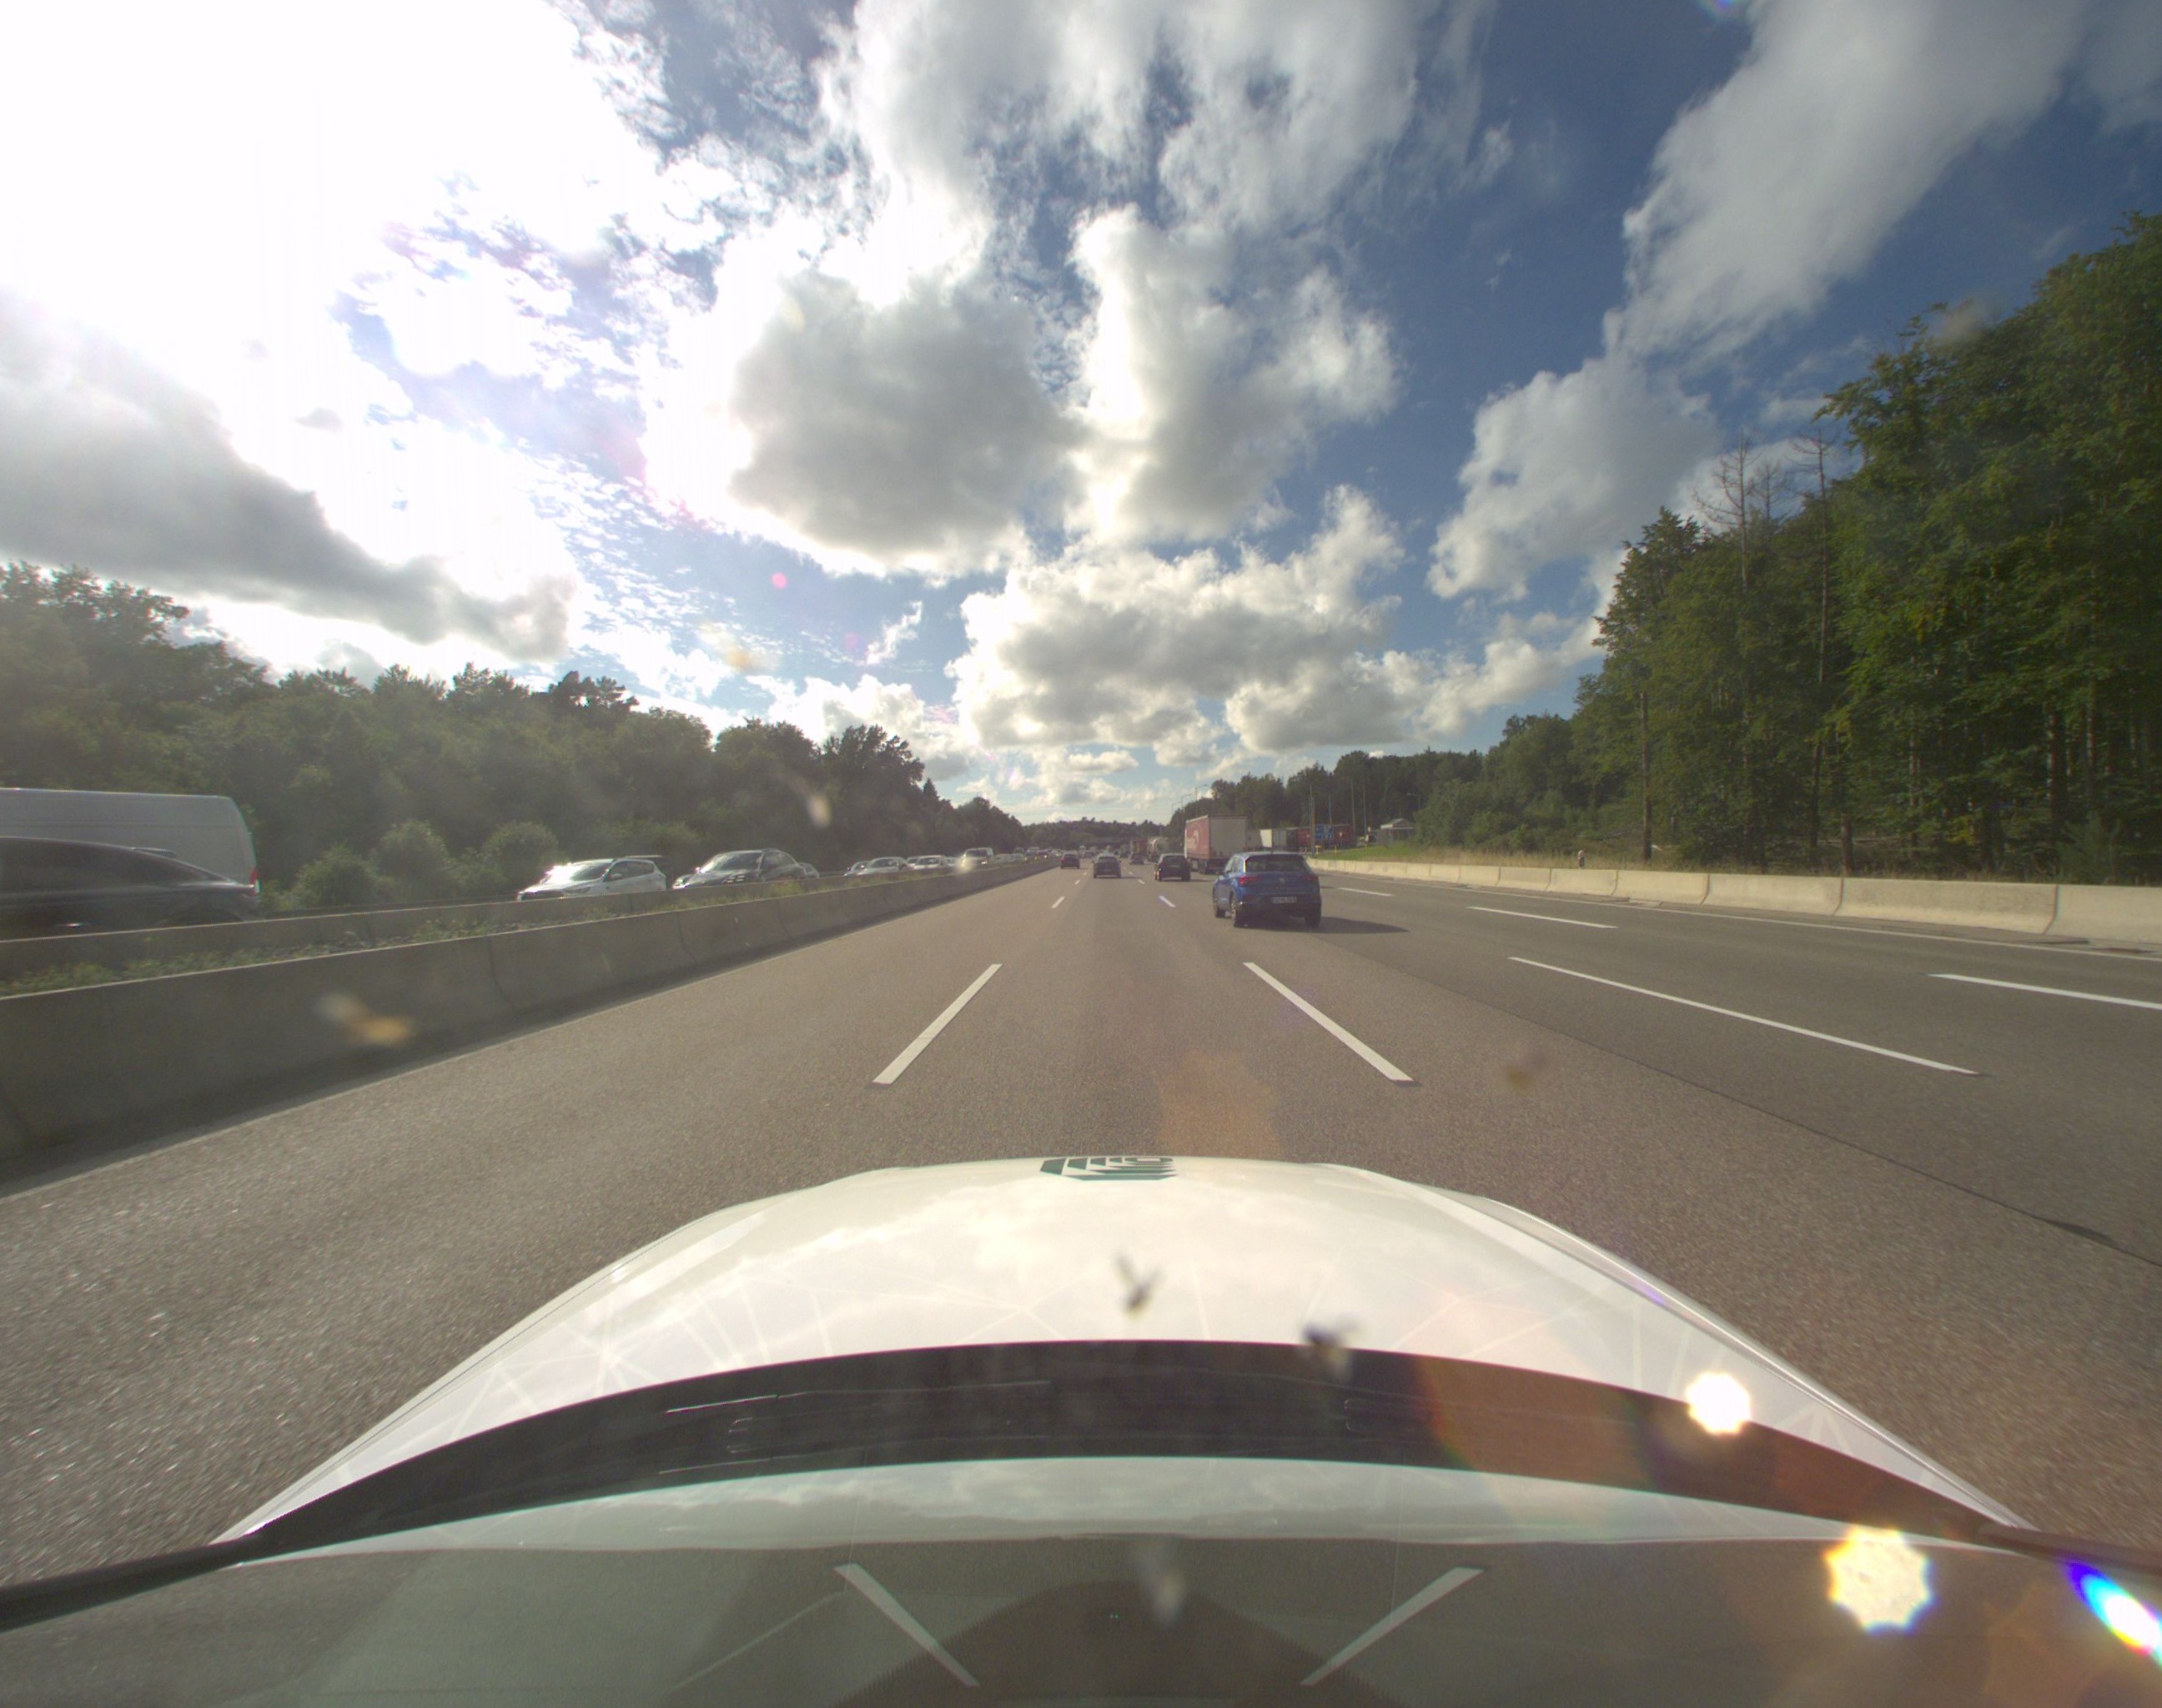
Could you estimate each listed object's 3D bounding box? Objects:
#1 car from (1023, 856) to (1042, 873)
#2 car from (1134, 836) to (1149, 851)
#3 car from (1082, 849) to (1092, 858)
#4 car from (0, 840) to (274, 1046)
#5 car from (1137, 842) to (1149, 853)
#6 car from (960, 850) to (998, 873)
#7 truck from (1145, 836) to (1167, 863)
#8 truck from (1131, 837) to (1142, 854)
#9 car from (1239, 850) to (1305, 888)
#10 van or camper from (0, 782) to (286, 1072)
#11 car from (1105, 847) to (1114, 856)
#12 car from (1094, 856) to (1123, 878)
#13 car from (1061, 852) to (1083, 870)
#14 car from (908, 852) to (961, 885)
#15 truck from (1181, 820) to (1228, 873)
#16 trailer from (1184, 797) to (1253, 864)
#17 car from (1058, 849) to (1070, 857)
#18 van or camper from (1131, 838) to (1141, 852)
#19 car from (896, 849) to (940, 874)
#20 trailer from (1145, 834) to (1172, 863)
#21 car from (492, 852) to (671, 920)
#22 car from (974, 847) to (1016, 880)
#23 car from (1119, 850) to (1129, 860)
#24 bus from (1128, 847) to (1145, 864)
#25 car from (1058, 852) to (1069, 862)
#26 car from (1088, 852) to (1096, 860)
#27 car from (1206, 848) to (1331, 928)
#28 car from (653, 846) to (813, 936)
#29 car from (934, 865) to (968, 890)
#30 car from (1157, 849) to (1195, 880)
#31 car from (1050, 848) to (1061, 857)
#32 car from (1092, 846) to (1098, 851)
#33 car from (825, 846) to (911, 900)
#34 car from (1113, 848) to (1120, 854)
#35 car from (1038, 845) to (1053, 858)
[{"bbox_3d":[-5.869,1.325,99.570,1.809,2.014,4.454,0,-2,3],"label":"car"},{"bbox_3d":[12.441,-2.133,167.091,2.855,2.992,5.152,0,-2,3],"label":"car"},{"bbox_3d":[1.355,-0.122,176.122,2.146,1.776,4.002,0,-1,2],"label":"car"},{"bbox_3d":[-9.268,0.683,6.247,1.830,1.591,4.289,0,0,1],"label":"car"},{"bbox_3d":[11.909,-1.251,156.552,1.986,2.014,4.001,0,-2,1],"label":"car"},{"bbox_3d":[-7.469,0.510,60.140,1.985,1.572,4.819,-1,0,3],"label":"car"},{"bbox_3d":[11.672,-0.636,127.494,3.034,4.160,7.129,-1,-1,2],"label":"truck"},{"bbox_3d":[12.603,-1.823,184.682,2.348,3.572,11.273,0,-2,3],"label":"truck"},{"bbox_3d":[8.384,0.656,36.100,1.711,1.511,4.298,-2,-1,-2],"label":"car"},{"bbox_3d":[-12.908,0.799,8.958,2.131,3.172,6.245,0,0,1],"label":"van or camper"},{"bbox_3d":[6.558,-0.541,190.156,1.986,2.014,4.001,-2,-2,1],"label":"car"},{"bbox_3d":[1.711,0.808,52.213,1.728,1.365,3.999,0,-1,0],"label":"car"},{"bbox_3d":[-0.884,0.652,81.566,1.986,1.776,4.002,0,0,2],"label":"car"},{"bbox_3d":[-8.280,0.791,46.558,1.986,1.735,5.092,0,0,1],"label":"car"},{"bbox_3d":[9.908,-0.529,65.897,3.069,4.064,6.071,0,-2,1],"label":"truck"},{"bbox_3d":[9.716,-1.431,59.183,3.027,4.035,13.893,0,-1,2],"label":"trailer"},{"bbox_3d":[-3.360,-0.189,163.353,1.985,1.572,5.333,1,0,3],"label":"car"},{"bbox_3d":[12.967,-2.065,191.637,2.342,3.144,5.714,0,-2,3],"label":"van or camper"},{"bbox_3d":[-11.595,0.503,58.345,1.985,1.733,4.765,0,0,3],"label":"car"},{"bbox_3d":[11.513,-0.670,121.403,3.025,4.016,12.247,-1,-1,1],"label":"trailer"},{"bbox_3d":[-12.696,0.802,21.054,1.985,1.596,4.002,0,-2,3],"label":"car"},{"bbox_3d":[-5.185,0.547,49.683,1.986,1.920,4.002,0,1,2],"label":"car"},{"bbox_3d":[8.993,0.261,169.618,1.986,2.014,4.001,0,-1,1],"label":"car"},{"bbox_3d":[6.784,0.242,100.488,1.986,2.014,4.001,0,-2,2],"label":"bus"},{"bbox_3d":[-3.636,0.701,172.551,1.985,2.014,4.679,0,-2,2],"label":"car"},{"bbox_3d":[2.855,0.454,205.110,1.986,2.013,4.001,0,0,1],"label":"car"},{"bbox_3d":[4.007,0.699,18.197,1.916,1.541,4.648,0,-1,3],"label":"car"},{"bbox_3d":[-8.505,0.833,20.429,1.875,2.013,4.522,0,0,3],"label":"car"},{"bbox_3d":[-10.954,1.933,68.982,1.985,2.014,4.462,0,-1,3],"label":"car"},{"bbox_3d":[5.224,0.581,45.398,1.792,1.644,4.002,0,-1,2],"label":"car"},{"bbox_3d":[-4.808,-0.322,154.898,1.758,1.572,4.360,0,0,3],"label":"car"},{"bbox_3d":[4.212,-1.694,244.218,1.617,1.470,3.816,0,0,2],"label":"car"},{"bbox_3d":[-8.464,0.702,32.900,1.897,2.013,5.094,0,0,3],"label":"car"},{"bbox_3d":[11.374,-0.914,261.586,1.986,2.014,4.001,0,0,1],"label":"car"},{"bbox_3d":[-5.001,-0.311,115.925,1.870,1.762,5.293,0,0,0],"label":"car"}]
